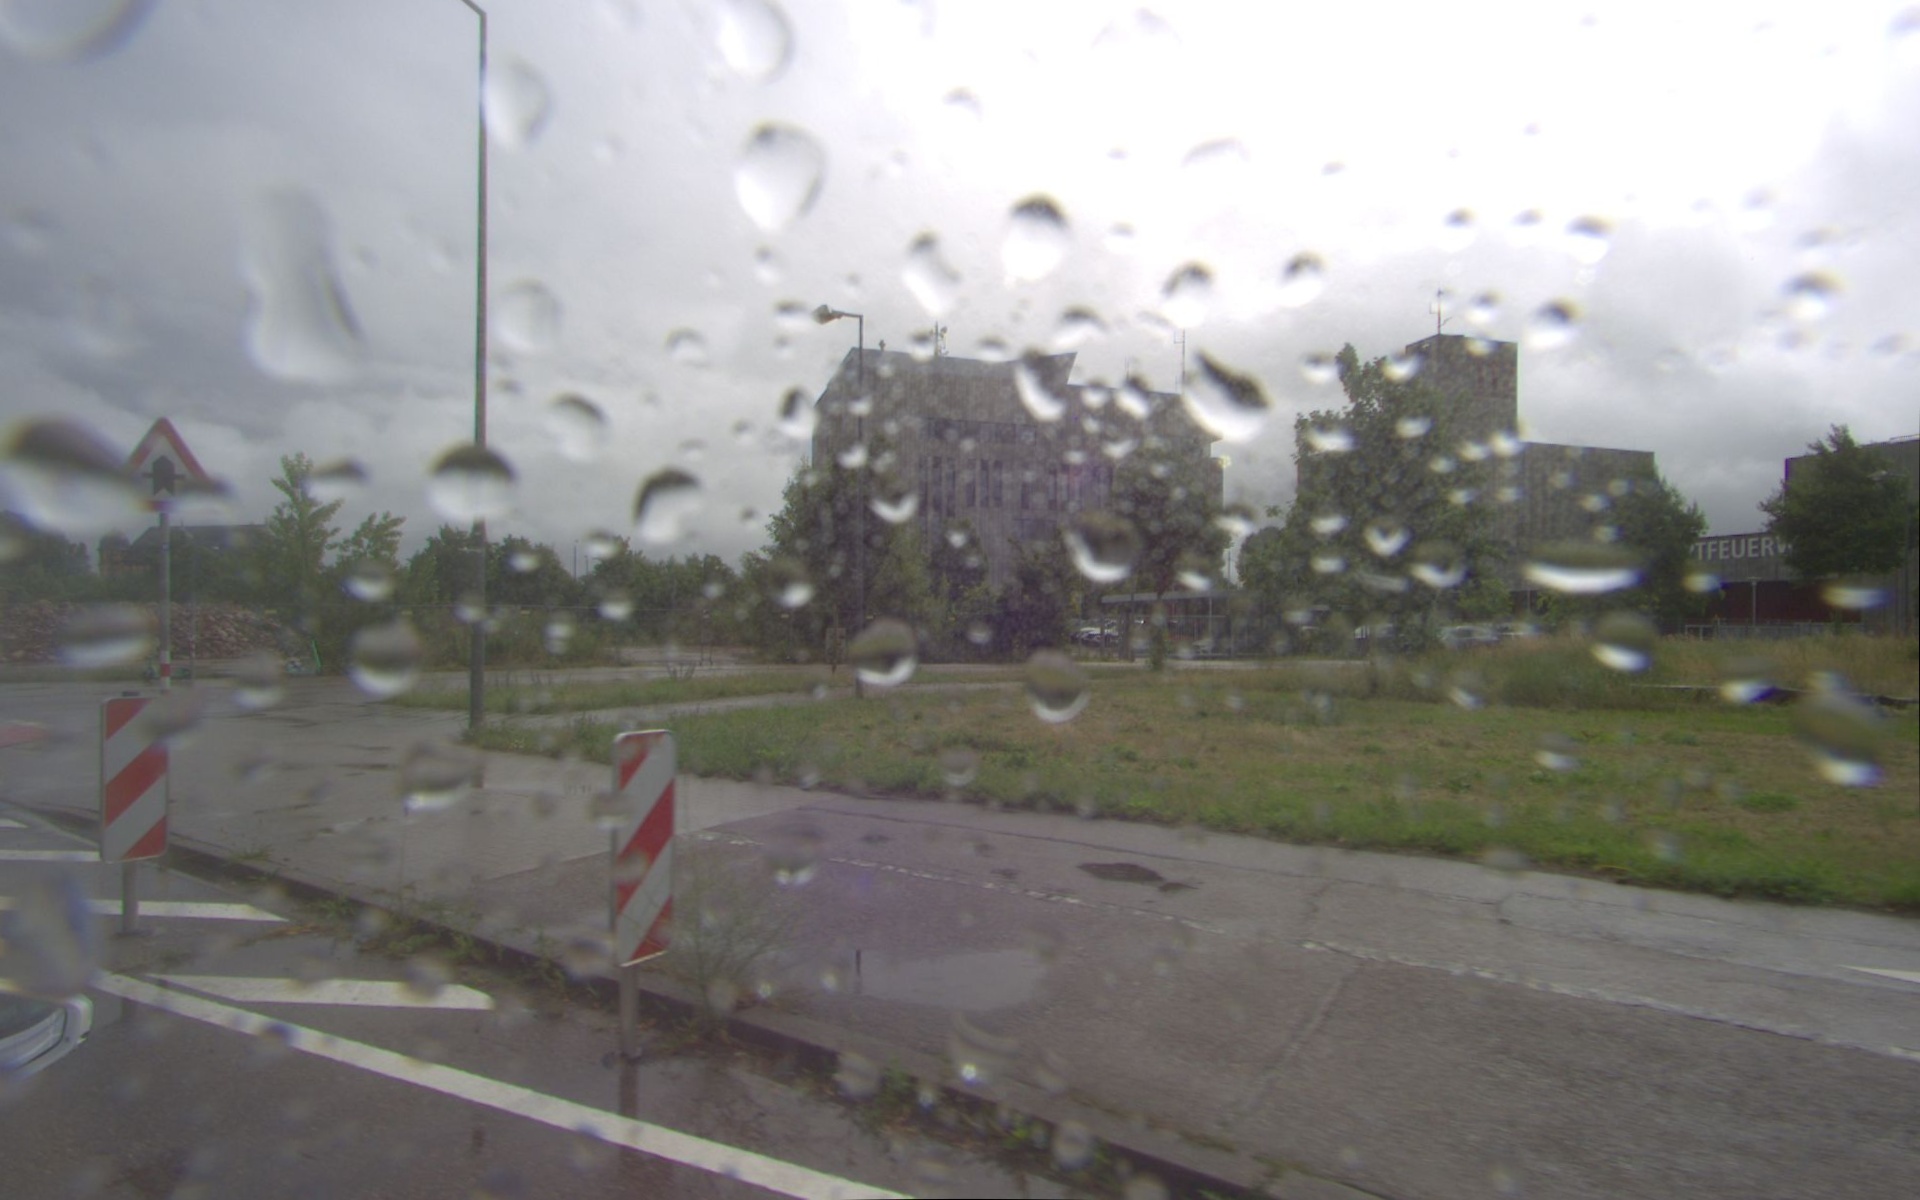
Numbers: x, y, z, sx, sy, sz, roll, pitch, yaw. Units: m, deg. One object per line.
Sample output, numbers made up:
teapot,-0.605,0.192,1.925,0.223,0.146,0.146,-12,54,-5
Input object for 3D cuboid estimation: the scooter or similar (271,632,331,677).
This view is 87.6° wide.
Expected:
scooter or similar,-18.651,1.543,28.375,1.262,1.202,0.502,4,-2,-19

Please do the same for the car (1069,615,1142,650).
car,9.615,2.171,66.245,4.309,2.003,1.998,4,-2,-13

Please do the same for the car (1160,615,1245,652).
car,13.268,1.847,54.937,4.095,1.742,1.818,4,-2,-14

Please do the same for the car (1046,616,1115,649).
car,8.496,2.286,70.632,4.309,2.003,1.998,4,-2,-13

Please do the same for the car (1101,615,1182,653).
car,11.051,2.072,61.021,4.309,1.982,1.998,4,-2,-13

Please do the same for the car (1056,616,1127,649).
car,8.942,2.218,68.363,4.309,2.003,1.998,4,-2,-13

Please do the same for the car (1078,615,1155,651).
car,9.978,2.111,63.890,4.309,1.996,1.998,4,-2,-13

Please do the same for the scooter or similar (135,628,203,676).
scooter or similar,-21.085,1.395,26.718,1.262,1.202,0.502,4,-2,-19

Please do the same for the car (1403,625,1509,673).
car,21.610,2.115,43.731,3.638,2.039,2.000,0,-1,-8
